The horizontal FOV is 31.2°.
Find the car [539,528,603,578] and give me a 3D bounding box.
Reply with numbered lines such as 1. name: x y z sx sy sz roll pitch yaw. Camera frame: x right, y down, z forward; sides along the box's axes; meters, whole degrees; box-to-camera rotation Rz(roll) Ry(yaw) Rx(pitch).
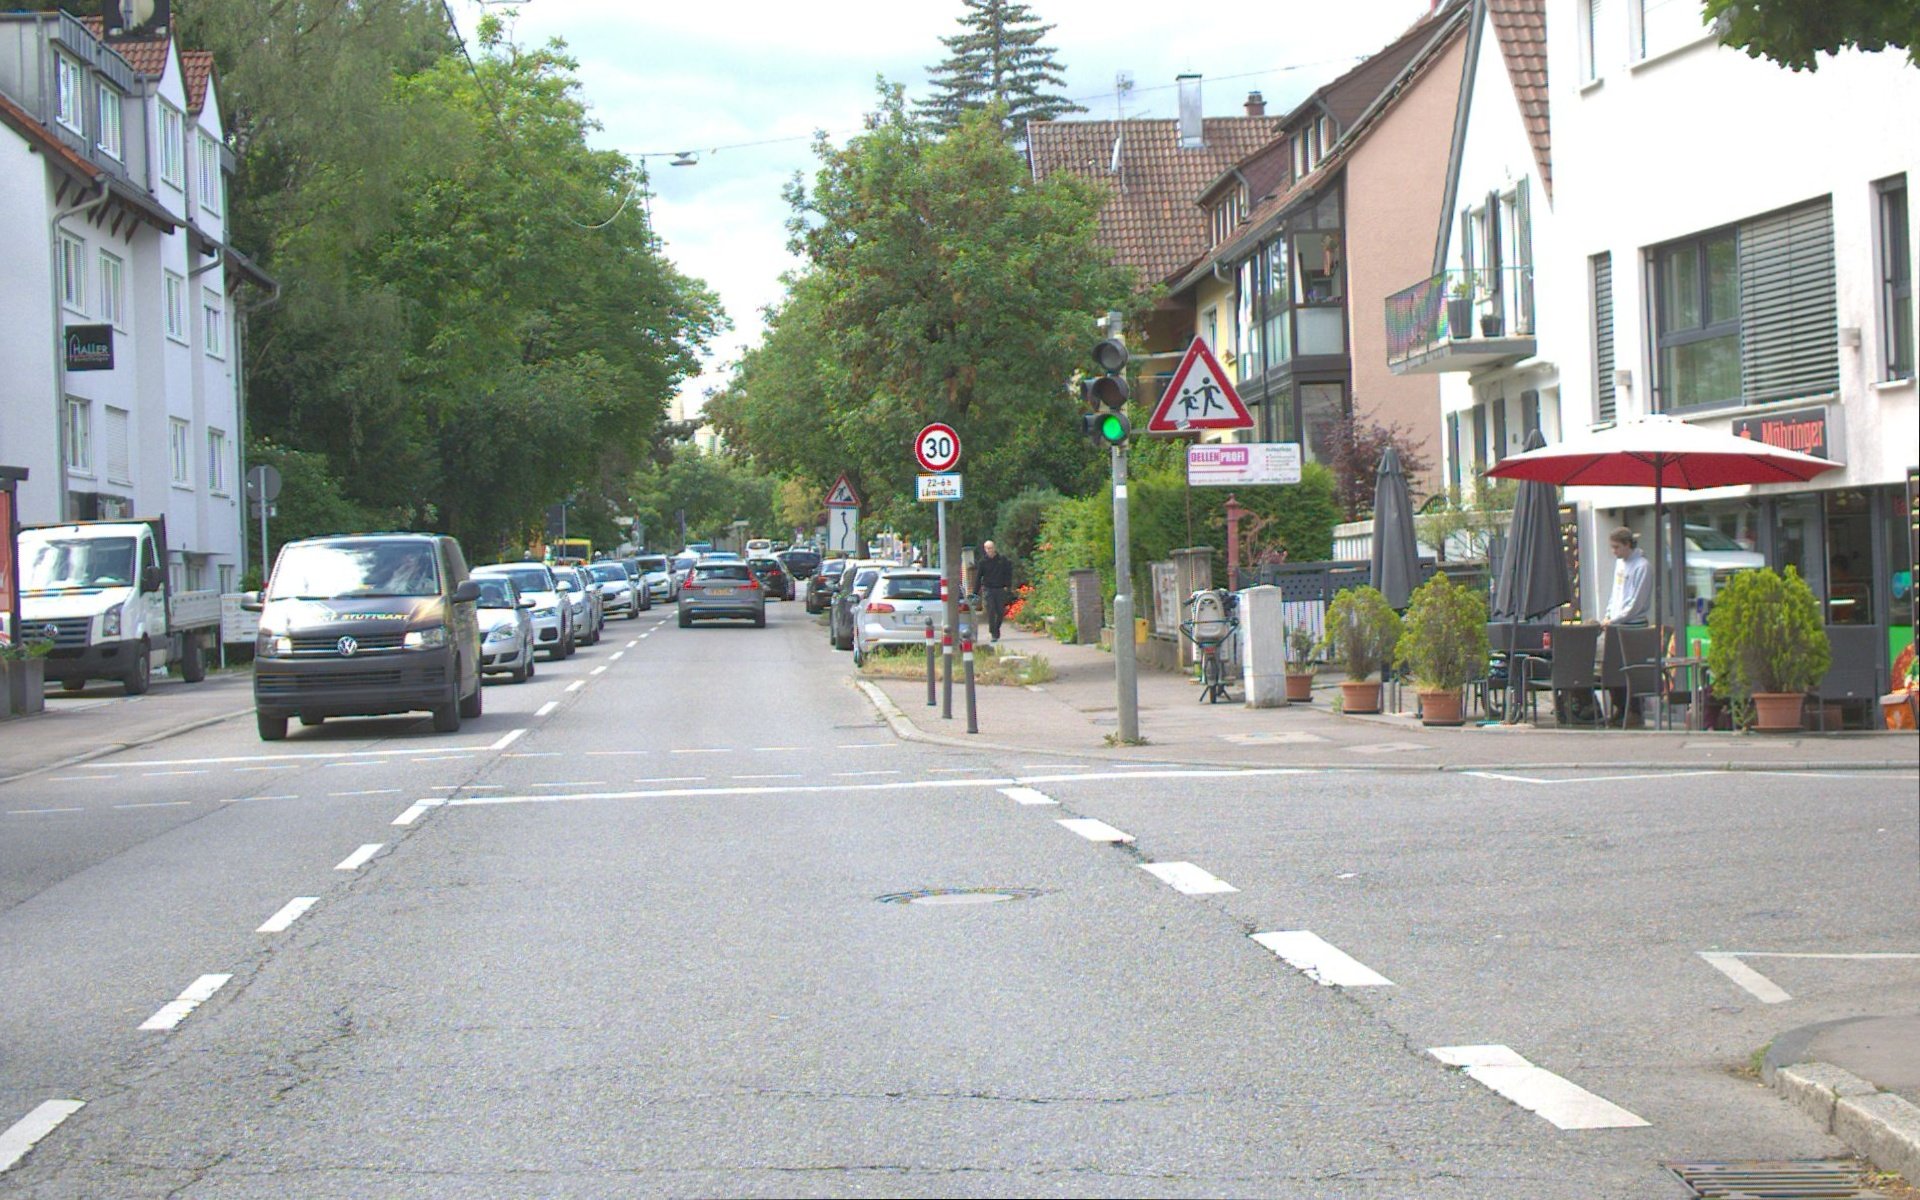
1. car: -16.242 -1.949 143.718 2.146 1.974 4.931 -1 0 -1

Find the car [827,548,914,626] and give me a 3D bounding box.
1. car: -1.862 -0.291 70.730 1.621 1.502 3.779 -2 1 -3

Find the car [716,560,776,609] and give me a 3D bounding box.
1. car: -6.906 -0.513 111.420 1.816 1.495 4.267 0 1 -2

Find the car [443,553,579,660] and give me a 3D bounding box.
1. car: -7.231 0.074 55.724 1.806 1.566 4.160 -4 1 -3

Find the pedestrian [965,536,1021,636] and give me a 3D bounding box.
1. pedestrian: 0.566 -0.240 59.440 0.880 1.706 0.842 -1 0 -2

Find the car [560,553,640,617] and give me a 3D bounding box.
1. car: -9.053 -0.398 86.767 1.759 1.434 3.971 -3 2 -3

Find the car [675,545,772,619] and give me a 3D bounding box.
1. car: -5.126 -0.413 74.889 1.976 1.508 4.267 2 1 -3

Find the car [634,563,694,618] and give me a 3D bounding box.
1. car: -9.917 -0.329 115.402 1.786 1.642 4.491 -4 1 -3

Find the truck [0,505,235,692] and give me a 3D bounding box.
1. truck: -11.769 -0.033 47.397 2.224 2.372 6.326 -1 0 -1

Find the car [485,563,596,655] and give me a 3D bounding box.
1. car: -7.722 0.131 63.608 1.728 1.497 4.377 -4 1 -4

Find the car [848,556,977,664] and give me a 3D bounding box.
1. car: -0.745 0.111 50.856 1.700 1.475 4.873 0 1 -3

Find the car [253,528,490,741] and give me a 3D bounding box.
1. car: -5.677 0.277 33.657 1.876 1.906 4.752 -1 1 -5

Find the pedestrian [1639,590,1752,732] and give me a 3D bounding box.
1. pedestrian: 5.749 0.473 26.887 0.566 1.085 0.634 -1 0 -28

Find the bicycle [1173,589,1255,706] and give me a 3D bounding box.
1. bicycle: 2.597 0.471 35.349 0.720 1.146 2.213 -2 0 2

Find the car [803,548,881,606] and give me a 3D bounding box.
1. car: -3.097 -0.613 89.489 1.801 1.440 4.888 0 1 -4

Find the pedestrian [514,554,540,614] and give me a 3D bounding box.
1. pedestrian: -12.990 -0.480 103.137 0.714 1.756 1.122 -1 0 -8

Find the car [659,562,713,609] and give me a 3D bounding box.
1. car: -10.041 -0.545 126.295 1.785 1.586 4.154 -3 1 -3

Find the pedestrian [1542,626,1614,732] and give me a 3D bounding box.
1. pedestrian: 5.613 0.713 31.229 0.418 0.935 0.498 -1 0 -24

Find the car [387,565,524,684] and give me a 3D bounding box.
1. car: -6.783 0.300 46.485 1.617 1.481 3.814 -2 1 -6

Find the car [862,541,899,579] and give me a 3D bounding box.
1. car: -4.383 -2.176 189.583 1.993 2.007 4.000 -1 0 -2

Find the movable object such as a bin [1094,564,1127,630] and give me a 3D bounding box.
1. movable object such as a bin: 2.467 -0.049 56.431 0.523 1.077 0.604 -1 0 2

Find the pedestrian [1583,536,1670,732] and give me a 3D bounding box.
1. pedestrian: 6.060 0.310 31.296 0.427 1.756 0.676 -1 0 -24

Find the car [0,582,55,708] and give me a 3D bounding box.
1. car: -12.544 0.545 39.942 3.692 1.420 1.805 -1 1 -7

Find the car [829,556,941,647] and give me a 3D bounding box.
1. car: -1.335 -0.005 59.435 1.734 1.424 4.883 1 1 -3
